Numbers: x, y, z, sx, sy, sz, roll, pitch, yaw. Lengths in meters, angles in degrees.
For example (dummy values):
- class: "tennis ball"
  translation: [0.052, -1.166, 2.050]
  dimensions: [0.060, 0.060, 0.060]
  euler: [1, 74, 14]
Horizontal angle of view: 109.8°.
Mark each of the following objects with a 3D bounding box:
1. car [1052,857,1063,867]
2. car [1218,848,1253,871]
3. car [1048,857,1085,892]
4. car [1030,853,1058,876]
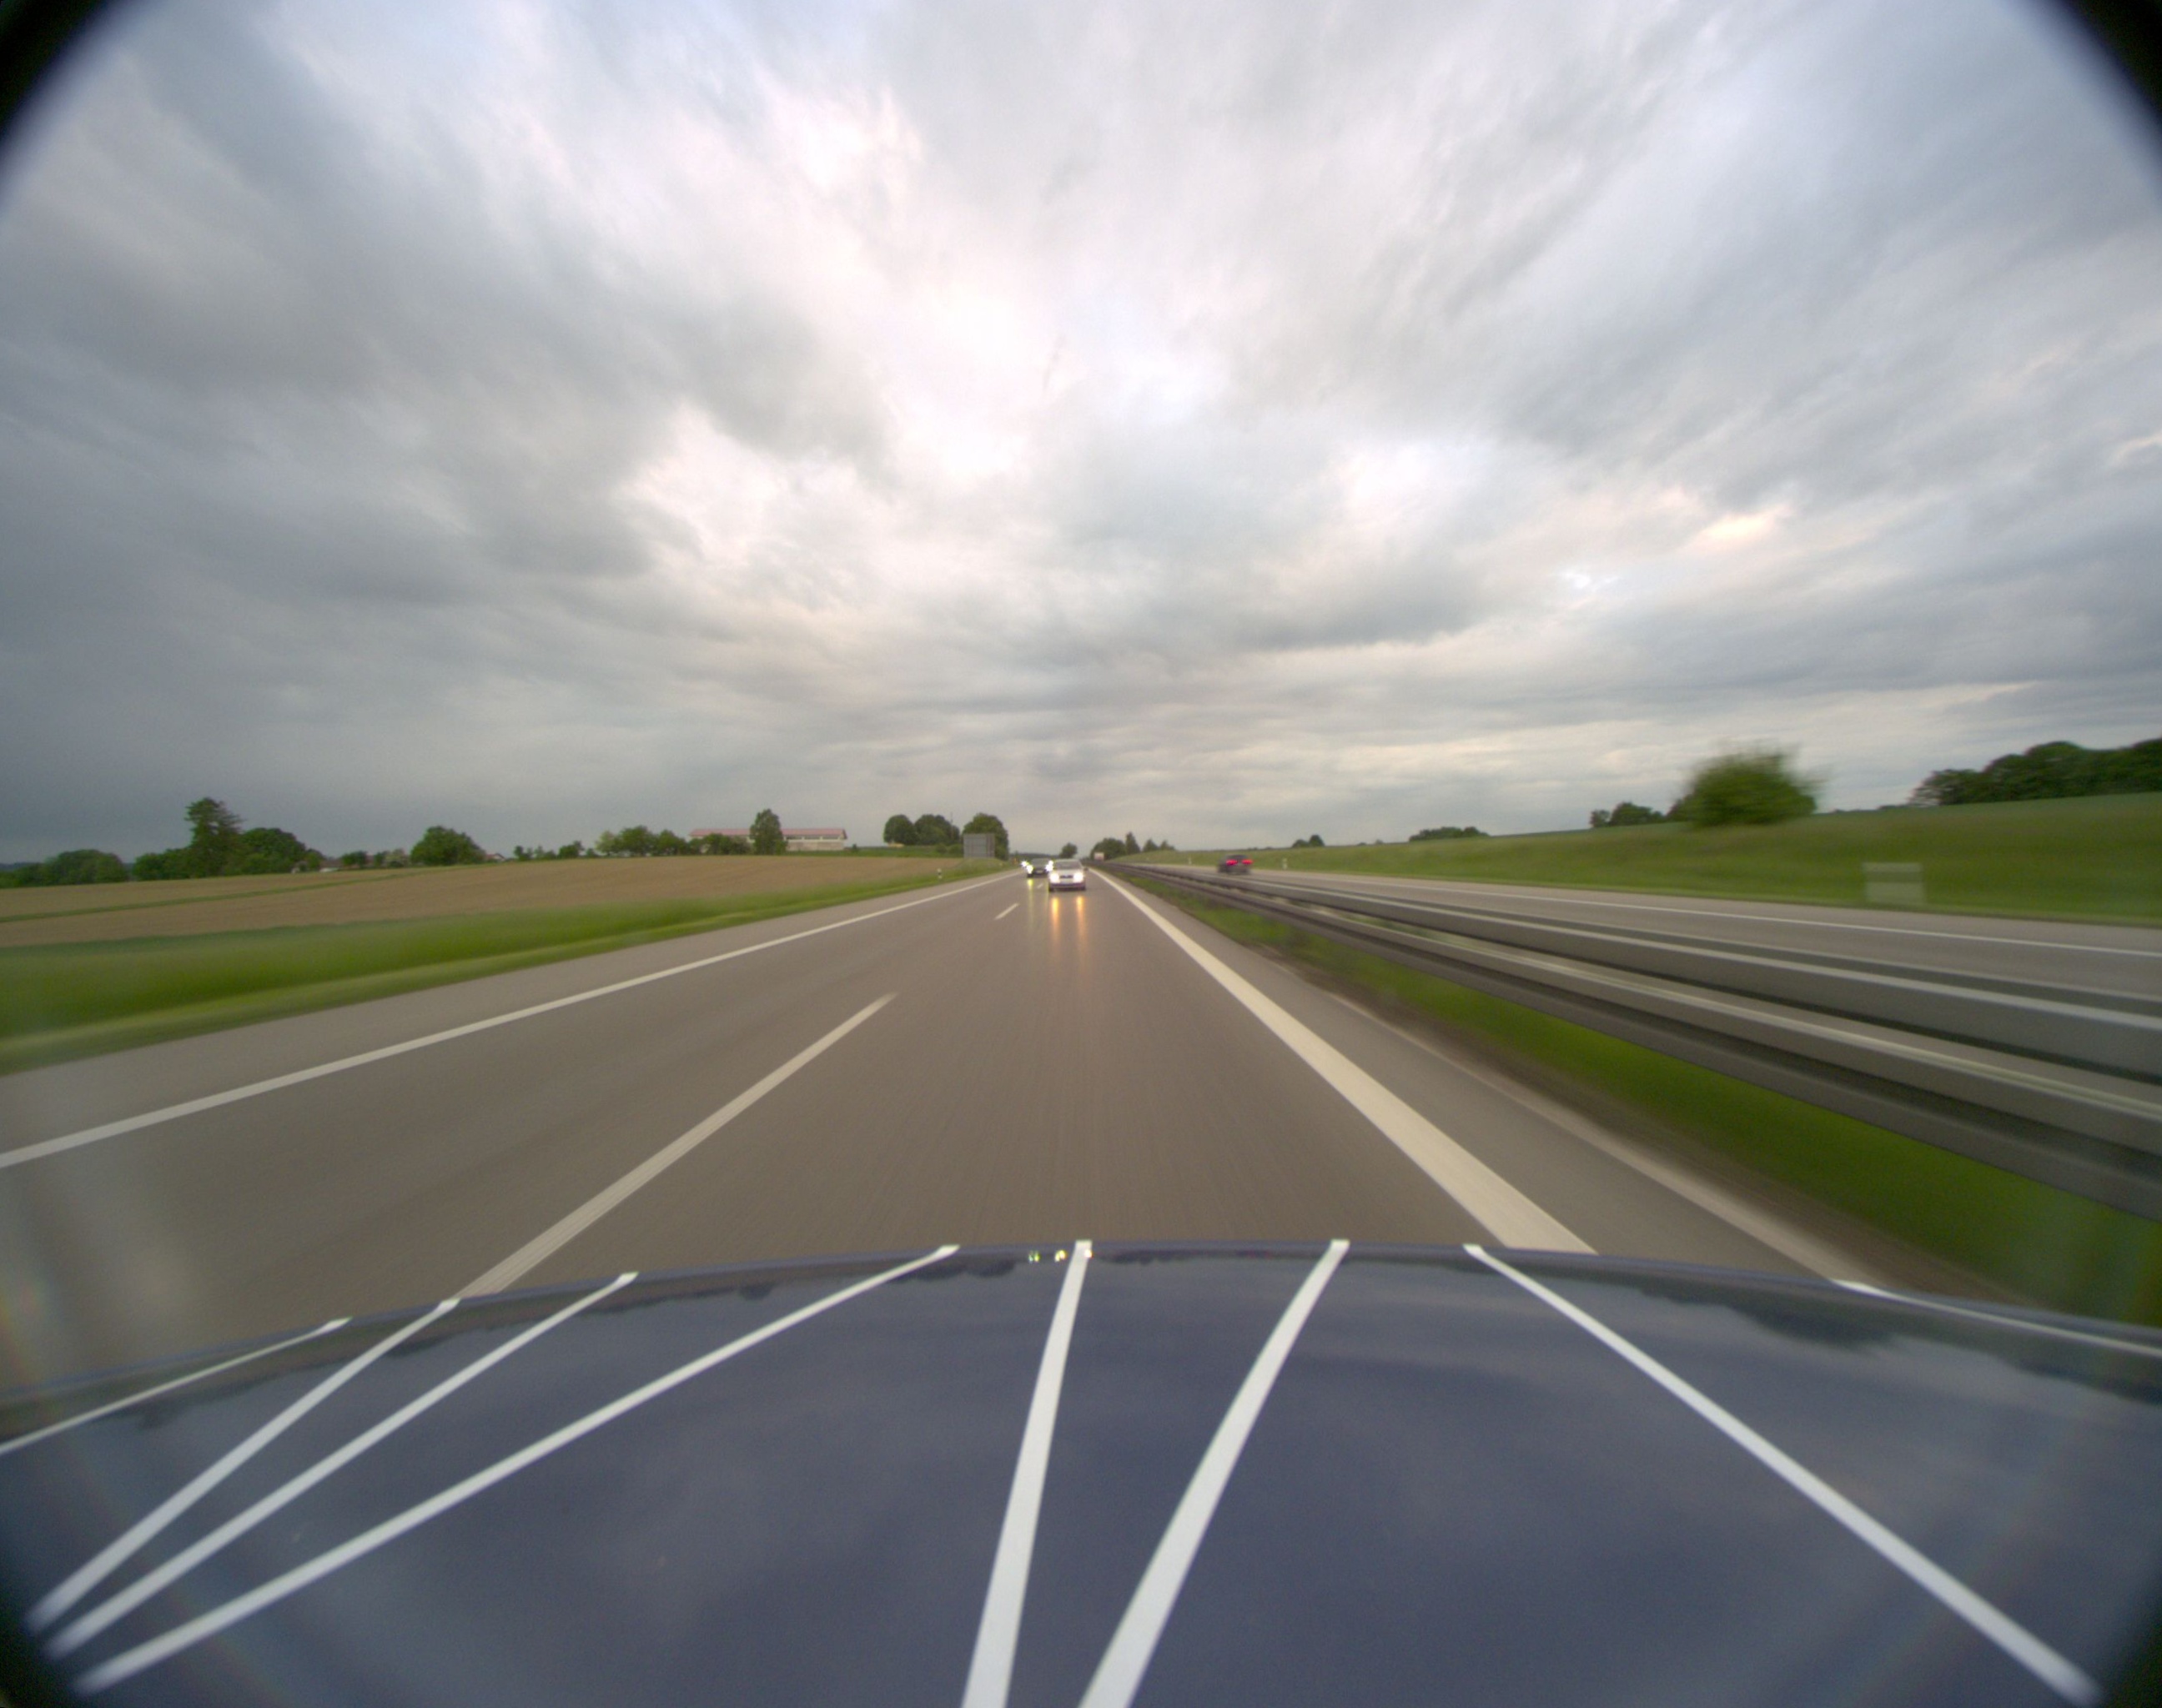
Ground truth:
- class: "car"
  translation: [-4.259, 1.457, 137.812]
  dimensions: [1.807, 1.619, 3.902]
  euler: [-1, 1, -3]
- class: "car"
  translation: [12.233, 0.406, 60.307]
  dimensions: [1.702, 1.654, 4.462]
  euler: [-3, 0, -1]
- class: "car"
  translation: [-0.623, 0.872, 34.622]
  dimensions: [1.592, 1.381, 4.600]
  euler: [0, 1, 0]
- class: "car"
  translation: [-2.878, 0.774, 59.779]
  dimensions: [1.951, 1.620, 4.535]
  euler: [-1, 1, 1]
